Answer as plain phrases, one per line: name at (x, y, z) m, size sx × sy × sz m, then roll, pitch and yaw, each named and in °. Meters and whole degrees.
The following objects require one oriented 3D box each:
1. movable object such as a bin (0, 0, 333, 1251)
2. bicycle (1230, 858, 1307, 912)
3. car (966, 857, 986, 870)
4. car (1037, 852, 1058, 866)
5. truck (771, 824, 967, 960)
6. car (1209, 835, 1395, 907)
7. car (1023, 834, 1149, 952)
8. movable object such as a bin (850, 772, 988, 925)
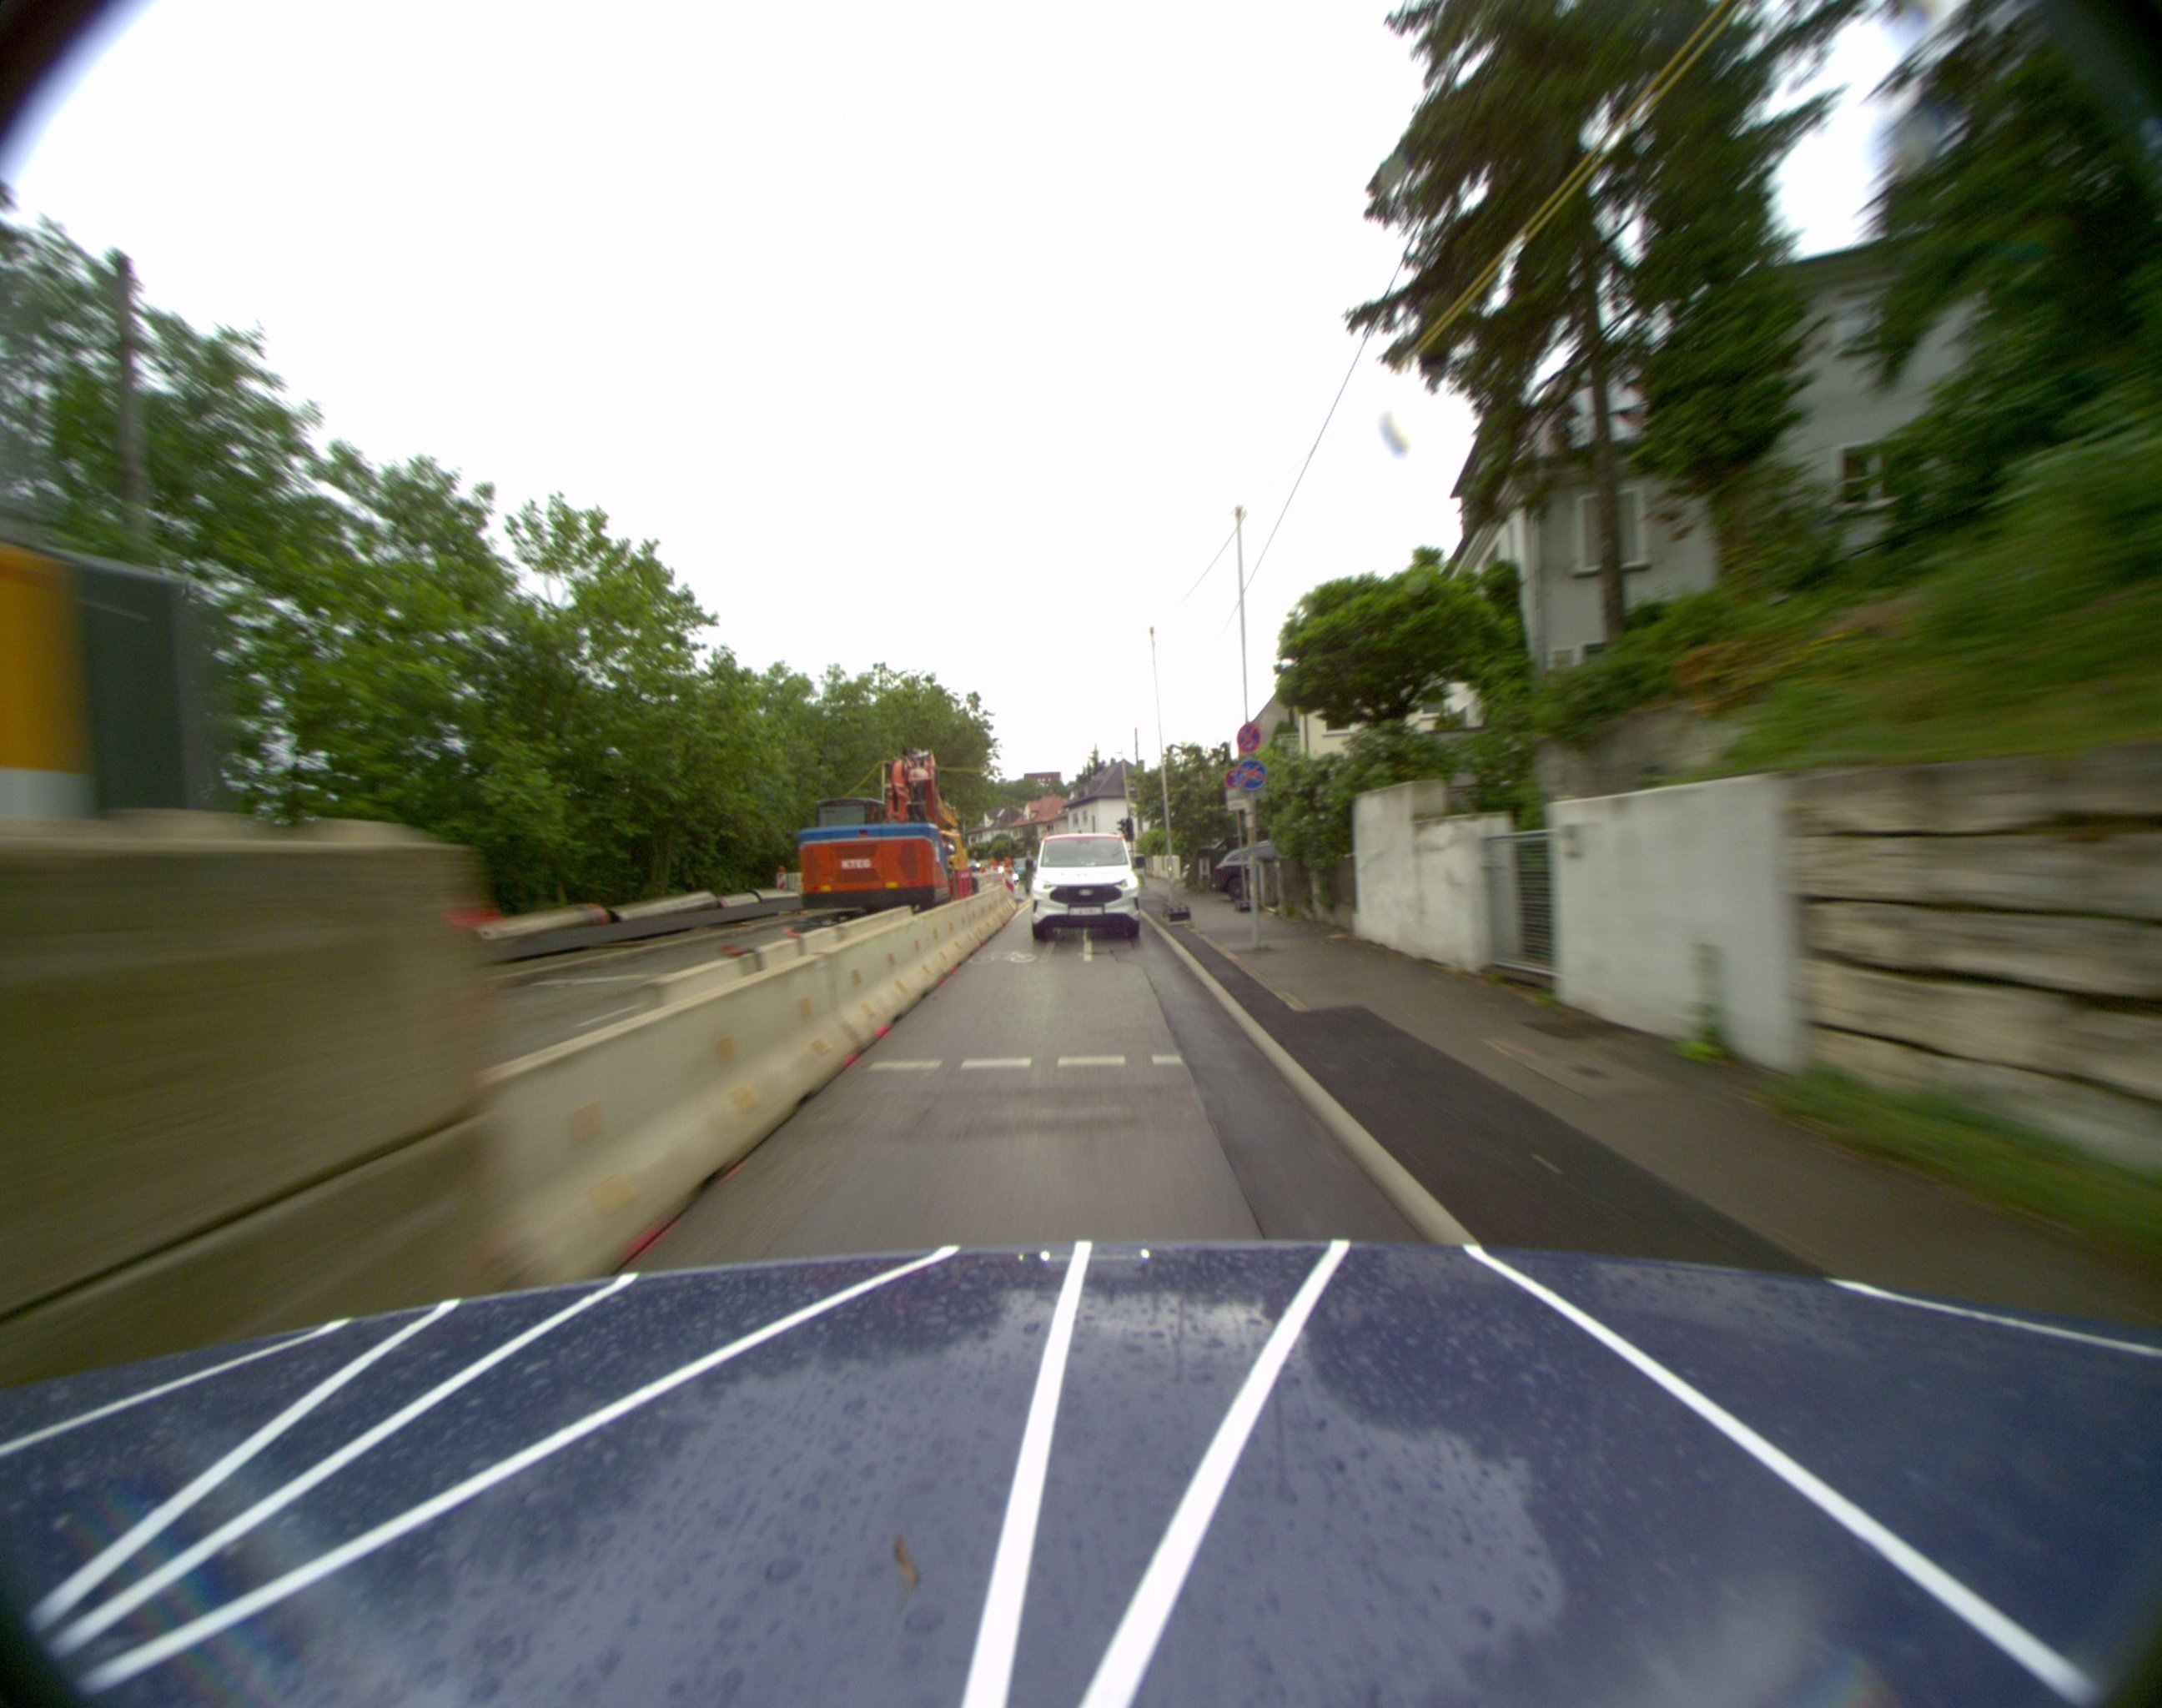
movable object such as a bin at (-6.259, -1.223, 0.553) m, size 3.685 × 5.037 × 7.174 m, roll -1°, pitch 2°, yaw 29°
bicycle at (4.247, 0.712, 17.236) m, size 1.621 × 1.124 × 0.443 m, roll -3°, pitch 2°, yaw 14°
car at (-12.712, 1.138, 92.070) m, size 1.825 × 1.328 × 3.625 m, roll -4°, pitch 1°, yaw 0°
car at (-3.932, 0.590, 88.672) m, size 1.899 × 1.485 × 3.794 m, roll -2°, pitch -1°, yaw -12°
truck at (-3.633, 0.581, 13.800) m, size 2.557 × 2.096 × 3.303 m, roll -2°, pitch 1°, yaw 0°
car at (5.370, 0.434, 18.790) m, size 1.789 × 1.517 × 3.990 m, roll -5°, pitch 1°, yaw -42°
car at (-0.103, 0.633, 15.622) m, size 2.046 × 1.883 × 5.206 m, roll -4°, pitch 1°, yaw -4°
movable object such as a bin at (-4.759, -0.138, 23.228) m, size 2.885 × 4.146 × 4.488 m, roll -2°, pitch 0°, yaw 4°
